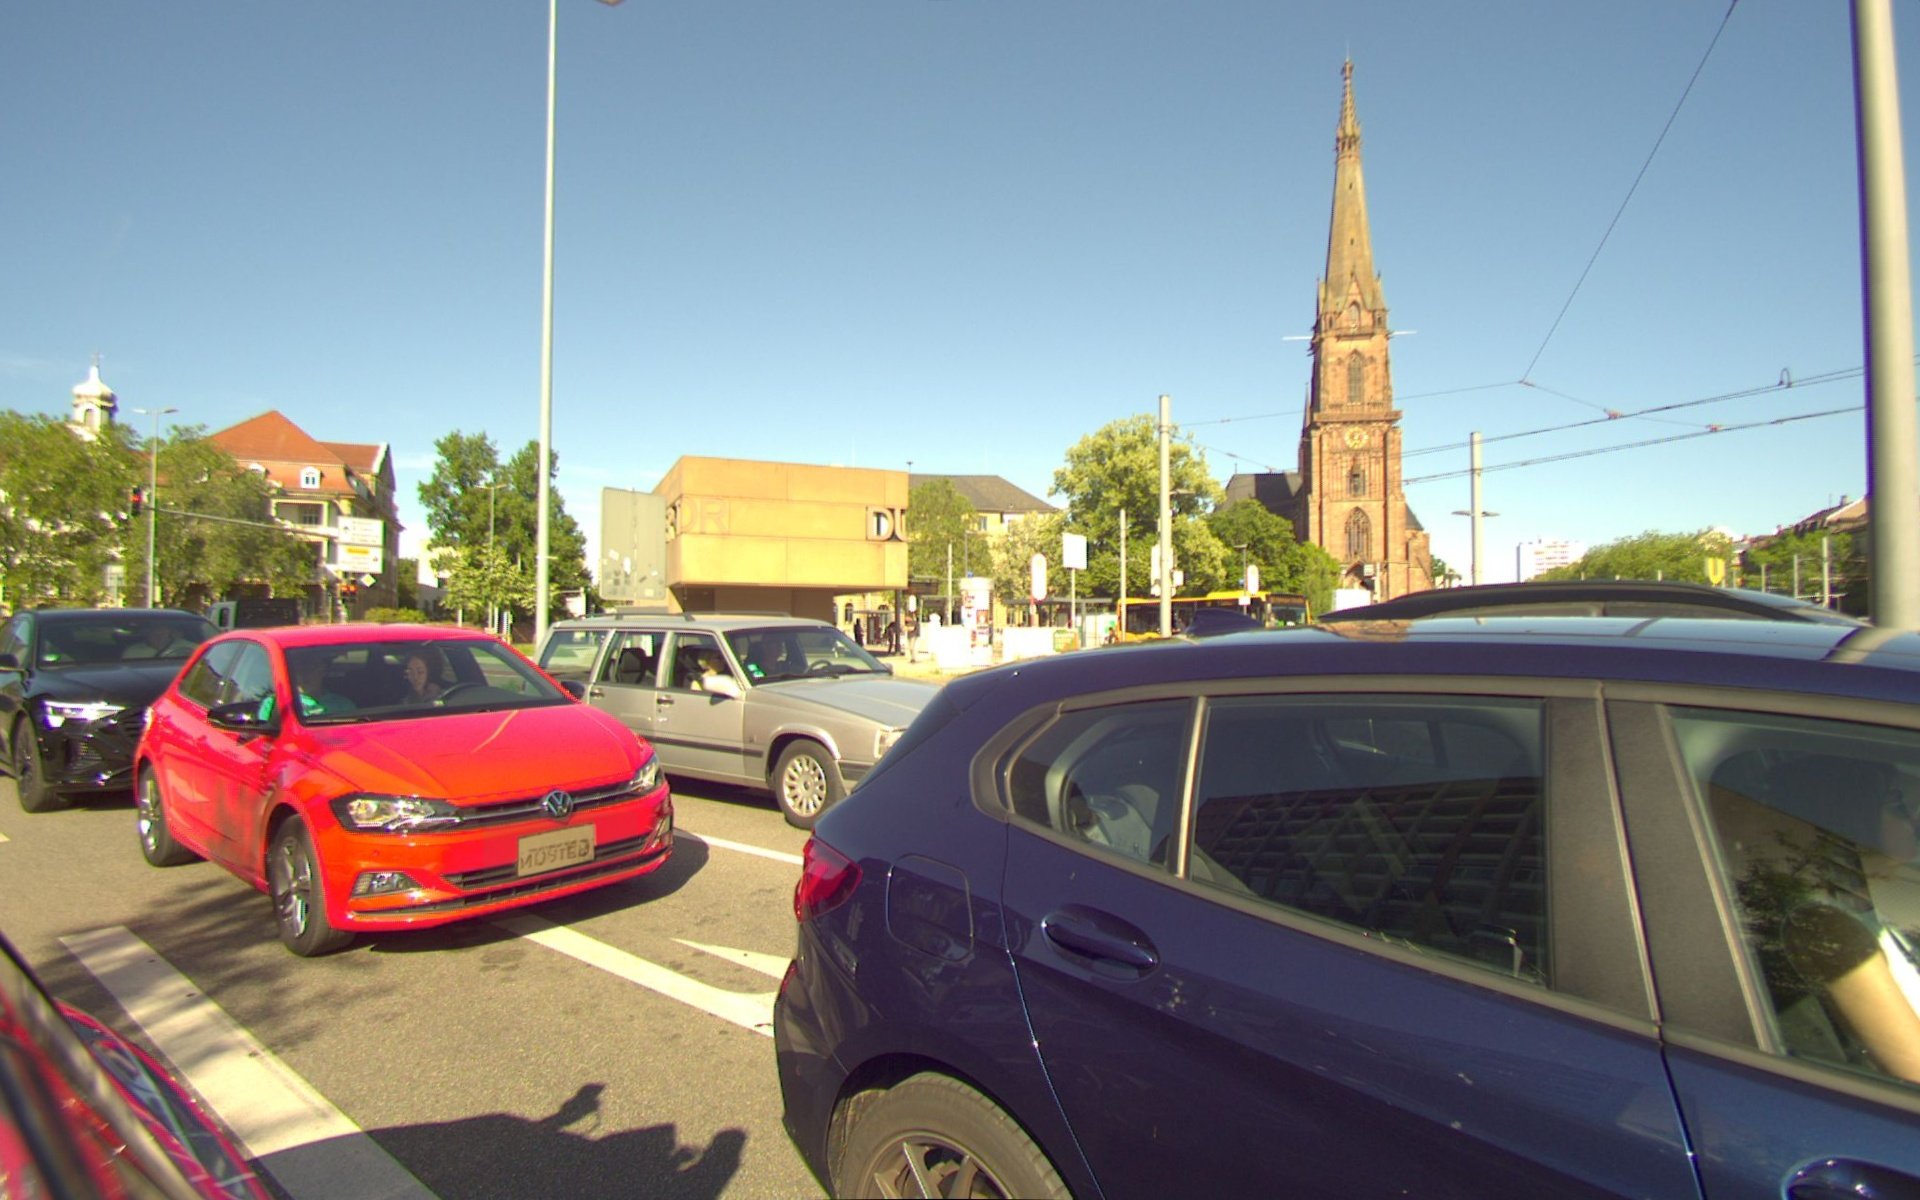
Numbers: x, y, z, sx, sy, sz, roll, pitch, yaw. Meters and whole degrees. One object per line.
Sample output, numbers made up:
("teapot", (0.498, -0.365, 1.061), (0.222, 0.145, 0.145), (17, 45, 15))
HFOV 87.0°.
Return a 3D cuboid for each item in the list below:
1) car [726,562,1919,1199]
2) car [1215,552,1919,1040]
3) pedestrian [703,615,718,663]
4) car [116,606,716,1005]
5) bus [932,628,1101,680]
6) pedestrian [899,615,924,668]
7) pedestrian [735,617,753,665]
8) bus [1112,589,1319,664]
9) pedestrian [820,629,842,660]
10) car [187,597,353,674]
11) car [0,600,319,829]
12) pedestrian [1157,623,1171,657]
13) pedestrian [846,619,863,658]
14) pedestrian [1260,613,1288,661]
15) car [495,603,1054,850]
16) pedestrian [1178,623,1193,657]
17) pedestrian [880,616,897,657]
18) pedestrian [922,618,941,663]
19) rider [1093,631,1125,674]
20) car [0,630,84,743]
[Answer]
("car", (1.584, 0.688, 1.372), (4.030, 1.456, 1.692), (-1, -1, 42))
("car", (3.279, 0.630, 4.124), (4.010, 1.529, 1.738), (-2, -2, 44))
("pedestrian", (-9.505, 1.474, 38.532), (0.460, 1.789, 0.648), (0, -2, -21))
("car", (-3.230, 0.811, 5.669), (3.850, 1.484, 1.653), (-2, -1, 40))
("bus", (1.420, 1.358, 26.189), (4.174, 1.251, 1.627), (-1, -2, 35))
("pedestrian", (-1.672, 1.428, 35.196), (0.662, 1.802, 0.642), (-1, -1, 18))
("pedestrian", (-8.145, 1.537, 38.148), (0.635, 1.789, 0.618), (0, -2, -8))
("bus", (11.633, 1.320, 48.112), (2.715, 3.088, 12.201), (1, -2, -23))
("pedestrian", (-5.496, 1.905, 43.214), (0.635, 1.320, 0.764), (1, -2, -40))
("car", (-22.669, 1.165, 33.162), (6.191, 2.331, 2.095), (-1, -2, 31))
("car", (-7.823, 0.880, 9.317), (4.446, 1.628, 1.836), (-1, -2, 38))
("pedestrian", (9.503, 1.861, 47.101), (0.563, 1.525, 0.527), (-1, -1, 4))
("pedestrian", (-4.871, 1.772, 46.606), (0.468, 1.789, 0.638), (-2, -2, 36))
("pedestrian", (12.487, 1.474, 40.243), (0.882, 1.869, 0.679), (-2, -3, 41))
("car", (-1.713, 0.826, 8.213), (4.743, 1.484, 1.693), (-2, -1, 37))
("pedestrian", (10.477, 1.844, 46.976), (0.554, 1.525, 0.527), (-1, -1, 4))
("pedestrian", (-3.168, 1.602, 44.840), (0.468, 1.789, 0.638), (-2, -2, 36))
("pedestrian", (-1.165, 1.639, 41.036), (0.634, 1.789, 0.470), (1, -2, -29))
("rider", (5.184, 1.823, 35.188), (0.846, 1.475, 0.672), (0, -2, -21))
("car", (-13.624, 1.132, 13.879), (3.704, 1.429, 1.557), (-1, -2, 35))
